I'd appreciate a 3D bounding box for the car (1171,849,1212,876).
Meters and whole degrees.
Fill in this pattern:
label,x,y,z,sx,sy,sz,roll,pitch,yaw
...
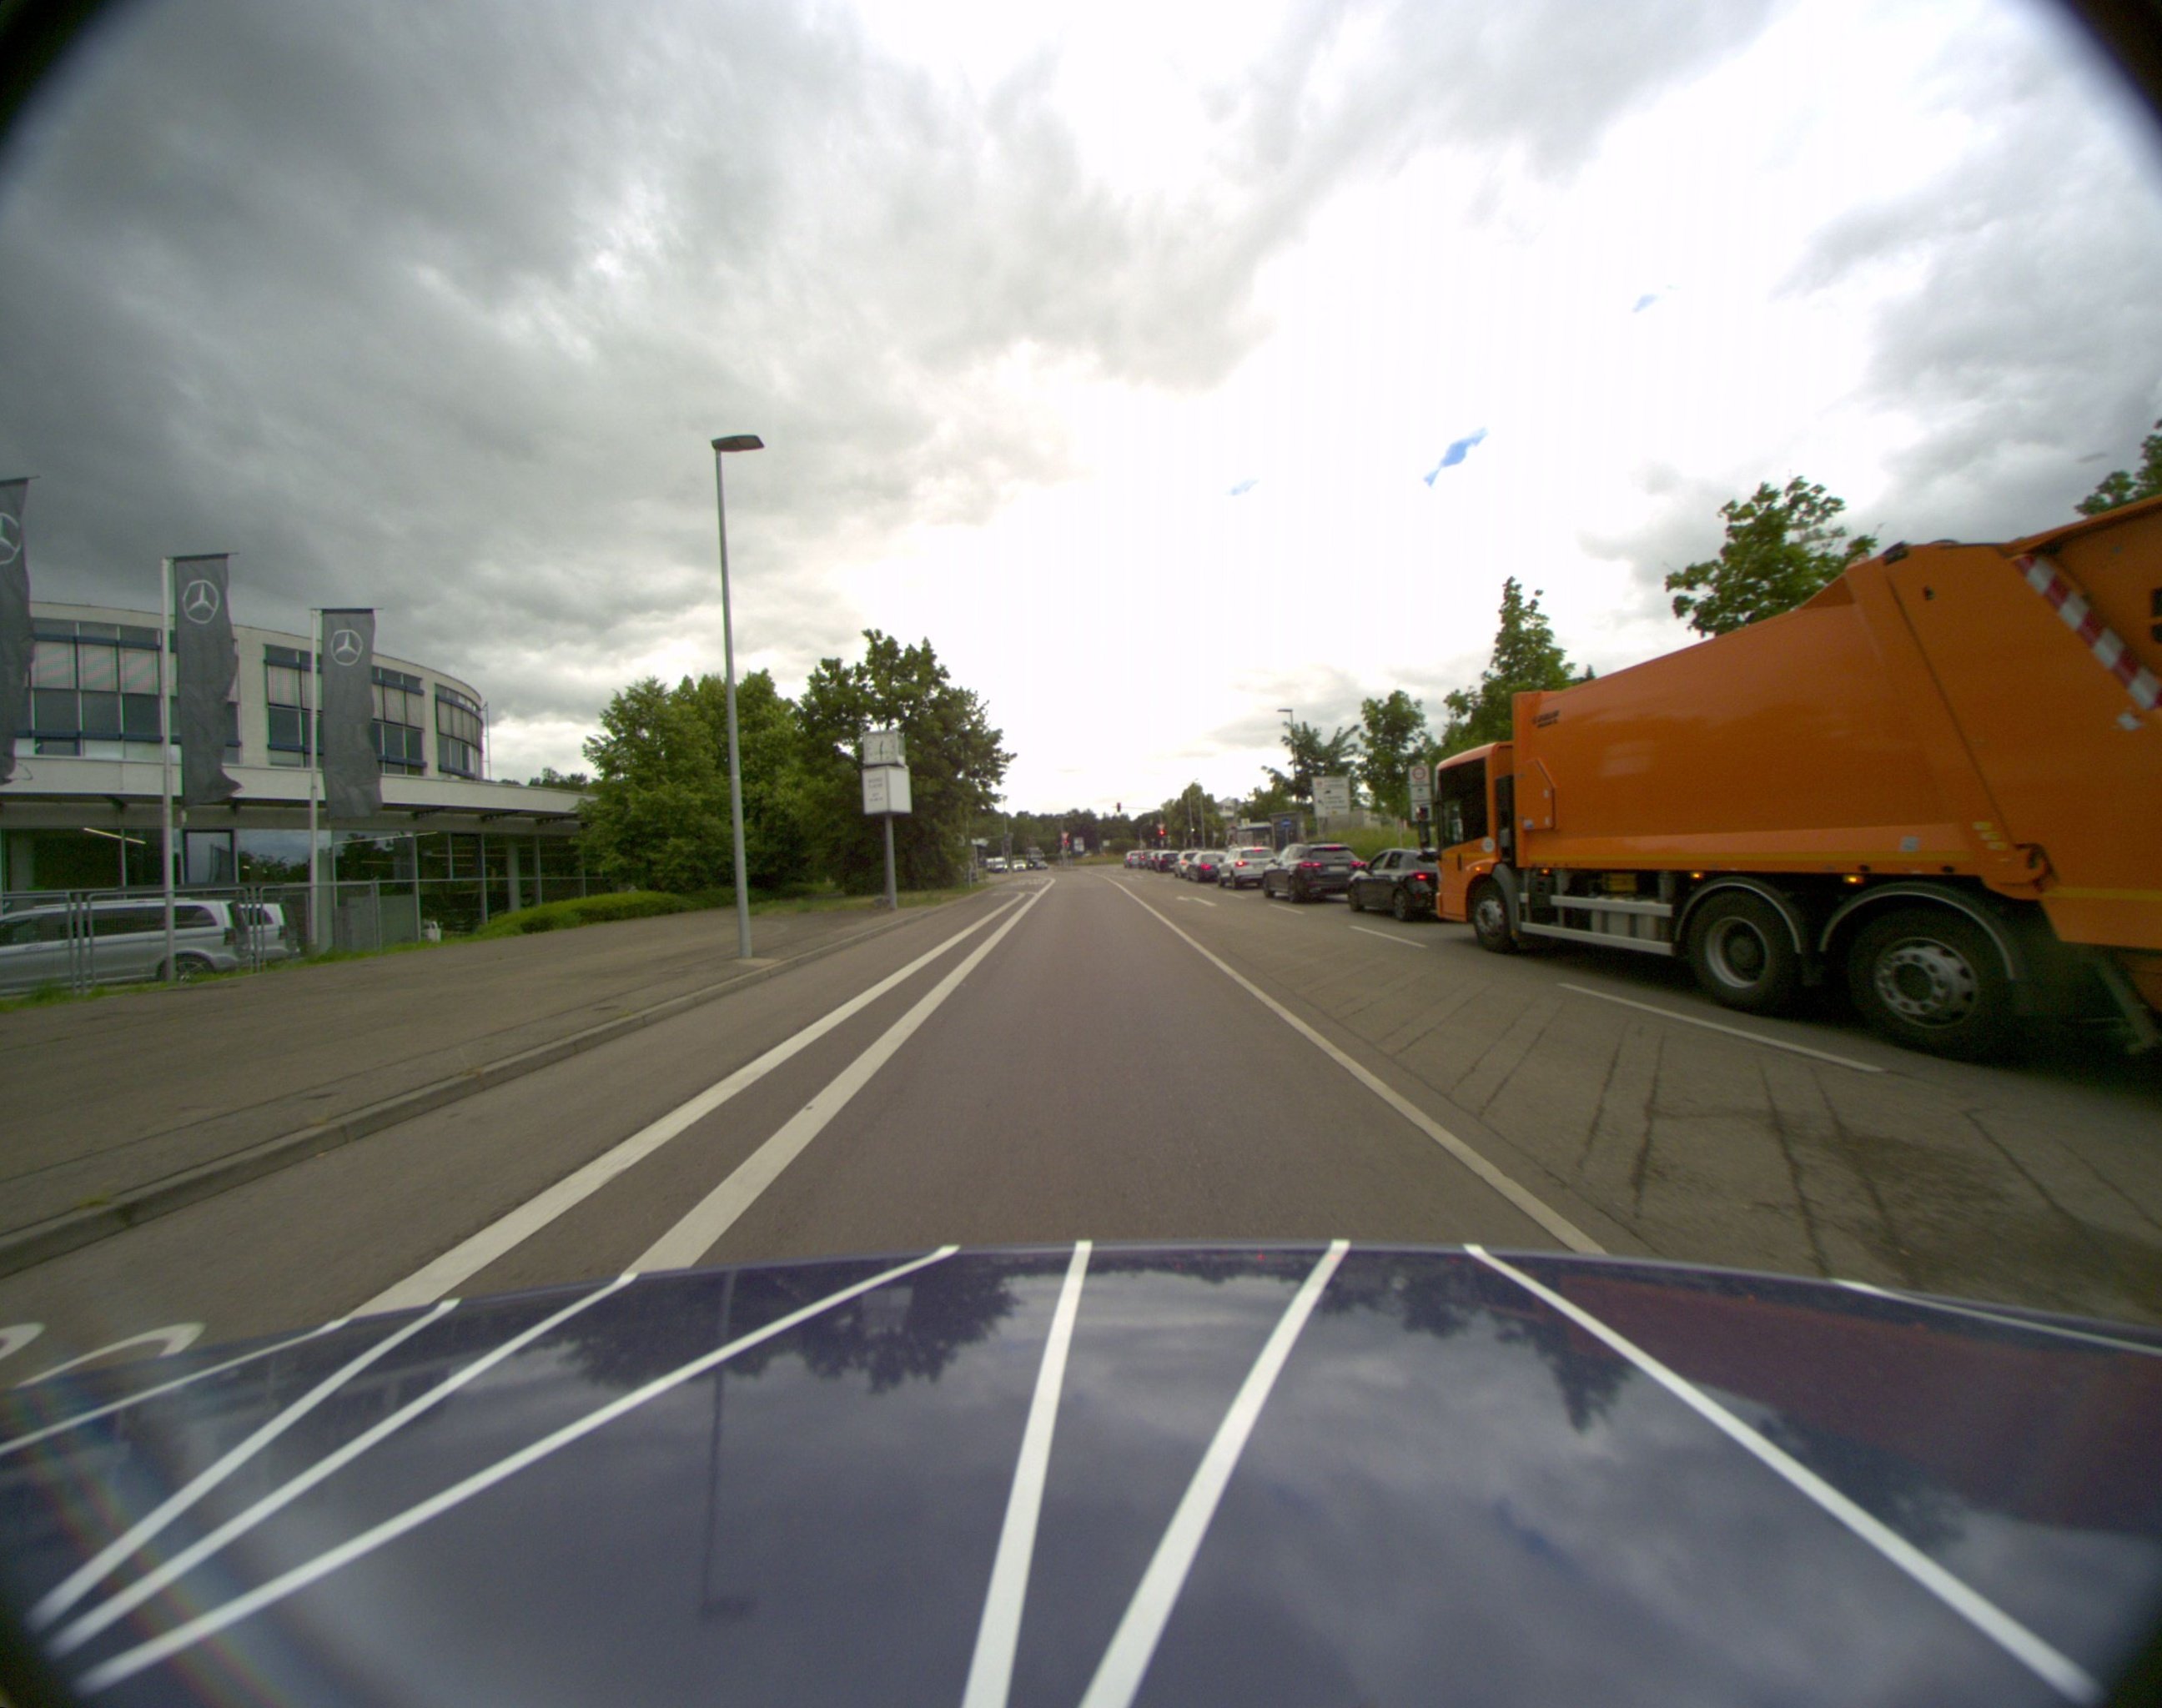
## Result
label,x,y,z,sx,sy,sz,roll,pitch,yaw
car,6.227,0.475,43.052,1.644,1.382,3.762,-3,0,-1

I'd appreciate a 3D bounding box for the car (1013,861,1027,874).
label,x,y,z,sx,sy,sz,roll,pitch,yaw
car,-10.457,2.230,130.541,2.120,1.979,4.986,-6,0,-4

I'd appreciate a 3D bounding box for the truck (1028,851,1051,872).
label,x,y,z,sx,sy,sz,roll,pitch,yaw
truck,-7.552,1.388,137.742,3.075,3.497,5.955,-5,0,-12

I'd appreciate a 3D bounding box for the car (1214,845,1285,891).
label,x,y,z,sx,sy,sz,roll,pitch,yaw
car,6.488,0.521,29.713,1.735,1.576,4.223,-3,0,-1

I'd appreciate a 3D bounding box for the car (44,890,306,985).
label,x,y,z,sx,sy,sz,roll,pitch,yaw
car,-23.343,2.053,19.865,4.007,1.944,1.995,-3,1,-39

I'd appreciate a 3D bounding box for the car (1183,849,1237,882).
label,x,y,z,sx,sy,sz,roll,pitch,yaw
car,6.122,0.533,36.620,1.644,1.382,4.884,-3,0,-1

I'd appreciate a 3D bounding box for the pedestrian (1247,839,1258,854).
label,x,y,z,sx,sy,sz,roll,pitch,yaw
pedestrian,15.519,-0.651,68.738,0.774,1.322,0.550,-4,0,-9

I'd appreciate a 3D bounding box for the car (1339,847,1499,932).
label,x,y,z,sx,sy,sz,roll,pitch,yaw
car,6.714,0.639,15.556,1.437,1.449,3.894,-3,0,-1

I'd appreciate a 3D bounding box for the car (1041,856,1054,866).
label,x,y,z,sx,sy,sz,roll,pitch,yaw
car,-5.710,1.180,128.143,1.636,1.433,3.863,-4,0,-11

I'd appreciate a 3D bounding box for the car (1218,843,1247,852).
label,x,y,z,sx,sy,sz,roll,pitch,yaw
car,24.717,-1.005,123.861,4.221,1.332,1.814,-1,-1,-7

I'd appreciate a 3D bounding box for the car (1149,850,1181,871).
label,x,y,z,sx,sy,sz,roll,pitch,yaw
car,5.789,0.433,52.687,1.644,1.324,4.060,-3,0,-1

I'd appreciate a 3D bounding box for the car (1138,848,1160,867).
label,x,y,z,sx,sy,sz,roll,pitch,yaw
car,5.837,0.314,65.212,1.432,1.518,2.774,-3,0,-3

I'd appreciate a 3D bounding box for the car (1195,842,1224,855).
label,x,y,z,sx,sy,sz,roll,pitch,yaw
car,20.464,-0.911,121.179,4.221,1.769,1.813,-4,0,-8

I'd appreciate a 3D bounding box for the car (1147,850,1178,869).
label,x,y,z,sx,sy,sz,roll,pitch,yaw
car,6.369,0.435,59.853,1.804,1.324,4.379,-3,0,-2

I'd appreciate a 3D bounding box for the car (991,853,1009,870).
label,x,y,z,sx,sy,sz,roll,pitch,yaw
car,-13.797,1.302,129.516,2.228,2.643,5.955,-5,0,-12

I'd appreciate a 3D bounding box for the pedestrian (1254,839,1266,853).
label,x,y,z,sx,sy,sz,roll,pitch,yaw
pedestrian,15.910,-0.702,67.530,0.774,1.219,0.550,-4,0,-9

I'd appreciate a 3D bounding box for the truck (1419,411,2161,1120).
label,x,y,z,sx,sy,sz,roll,pitch,yaw
truck,6.648,-0.469,6.692,2.712,3.466,9.994,-3,0,0

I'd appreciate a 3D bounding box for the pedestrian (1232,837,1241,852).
label,x,y,z,sx,sy,sz,roll,pitch,yaw
pedestrian,14.839,-0.896,72.483,0.550,1.355,0.773,-4,0,-8

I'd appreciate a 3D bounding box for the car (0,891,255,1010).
label,x,y,z,sx,sy,sz,roll,pitch,yaw
car,-20.342,1.940,15.767,4.007,2.013,1.995,-3,1,-39

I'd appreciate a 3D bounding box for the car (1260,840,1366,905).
label,x,y,z,sx,sy,sz,roll,pitch,yaw
car,6.423,0.485,21.483,1.644,1.576,4.060,-3,0,-1

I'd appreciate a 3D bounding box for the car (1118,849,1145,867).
label,x,y,z,sx,sy,sz,roll,pitch,yaw
car,4.706,0.364,71.626,1.832,1.527,4.218,-3,0,-5

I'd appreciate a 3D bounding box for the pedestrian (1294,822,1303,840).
label,x,y,z,sx,sy,sz,roll,pitch,yaw
pedestrian,20.424,-2.129,71.347,0.549,1.660,0.430,-4,0,36
